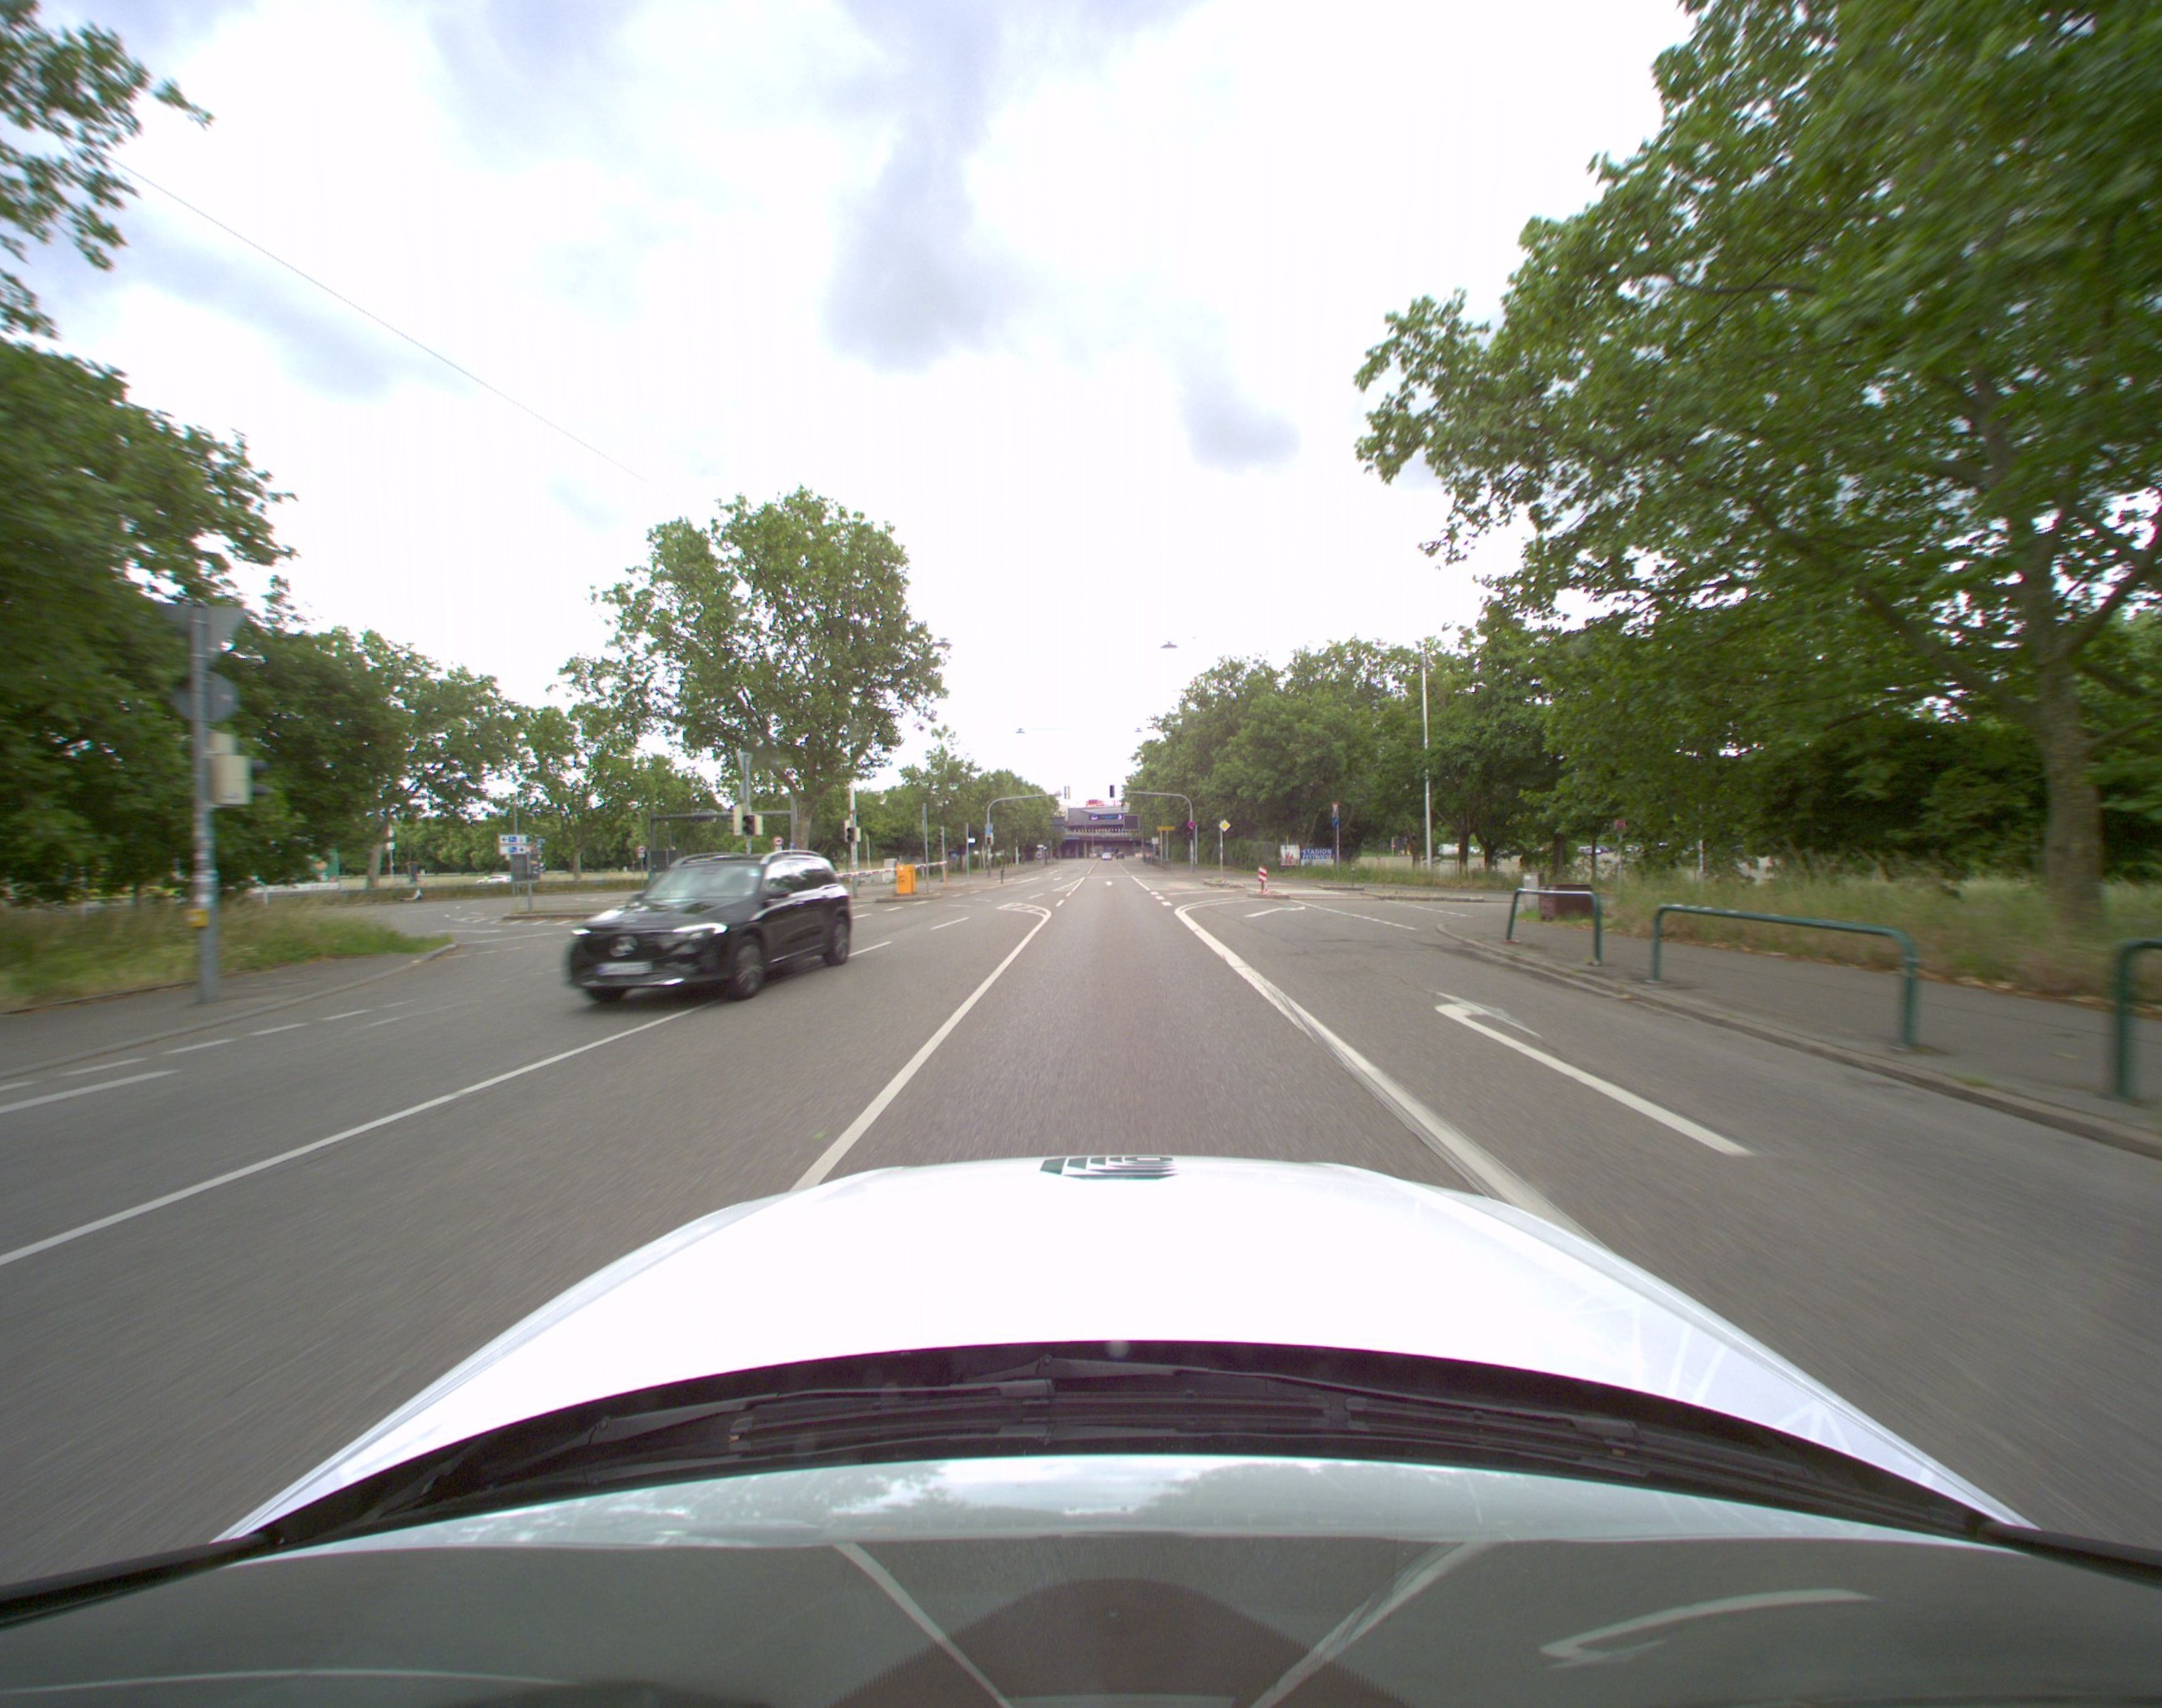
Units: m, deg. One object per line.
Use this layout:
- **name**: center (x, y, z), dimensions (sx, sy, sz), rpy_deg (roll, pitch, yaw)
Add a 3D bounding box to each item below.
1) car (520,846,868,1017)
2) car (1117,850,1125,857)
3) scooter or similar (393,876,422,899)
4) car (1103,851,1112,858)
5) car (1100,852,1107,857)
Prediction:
- **car**: center (-4.549, 0.781, 10.548), dimensions (1.984, 1.660, 4.523), rpy_deg (-3, 0, 5)
- **car**: center (10.004, -0.069, 202.997), dimensions (1.999, 1.698, 4.072), rpy_deg (-1, 0, 3)
- **scooter or similar**: center (-37.362, 1.868, 45.210), dimensions (0.412, 1.221, 1.224), rpy_deg (-1, 0, 13)
- **car**: center (5.845, 0.154, 178.301), dimensions (1.771, 1.460, 3.825), rpy_deg (1, 0, 3)
- **car**: center (5.164, 0.107, 187.436), dimensions (1.406, 1.113, 3.039), rpy_deg (0, 0, 2)
